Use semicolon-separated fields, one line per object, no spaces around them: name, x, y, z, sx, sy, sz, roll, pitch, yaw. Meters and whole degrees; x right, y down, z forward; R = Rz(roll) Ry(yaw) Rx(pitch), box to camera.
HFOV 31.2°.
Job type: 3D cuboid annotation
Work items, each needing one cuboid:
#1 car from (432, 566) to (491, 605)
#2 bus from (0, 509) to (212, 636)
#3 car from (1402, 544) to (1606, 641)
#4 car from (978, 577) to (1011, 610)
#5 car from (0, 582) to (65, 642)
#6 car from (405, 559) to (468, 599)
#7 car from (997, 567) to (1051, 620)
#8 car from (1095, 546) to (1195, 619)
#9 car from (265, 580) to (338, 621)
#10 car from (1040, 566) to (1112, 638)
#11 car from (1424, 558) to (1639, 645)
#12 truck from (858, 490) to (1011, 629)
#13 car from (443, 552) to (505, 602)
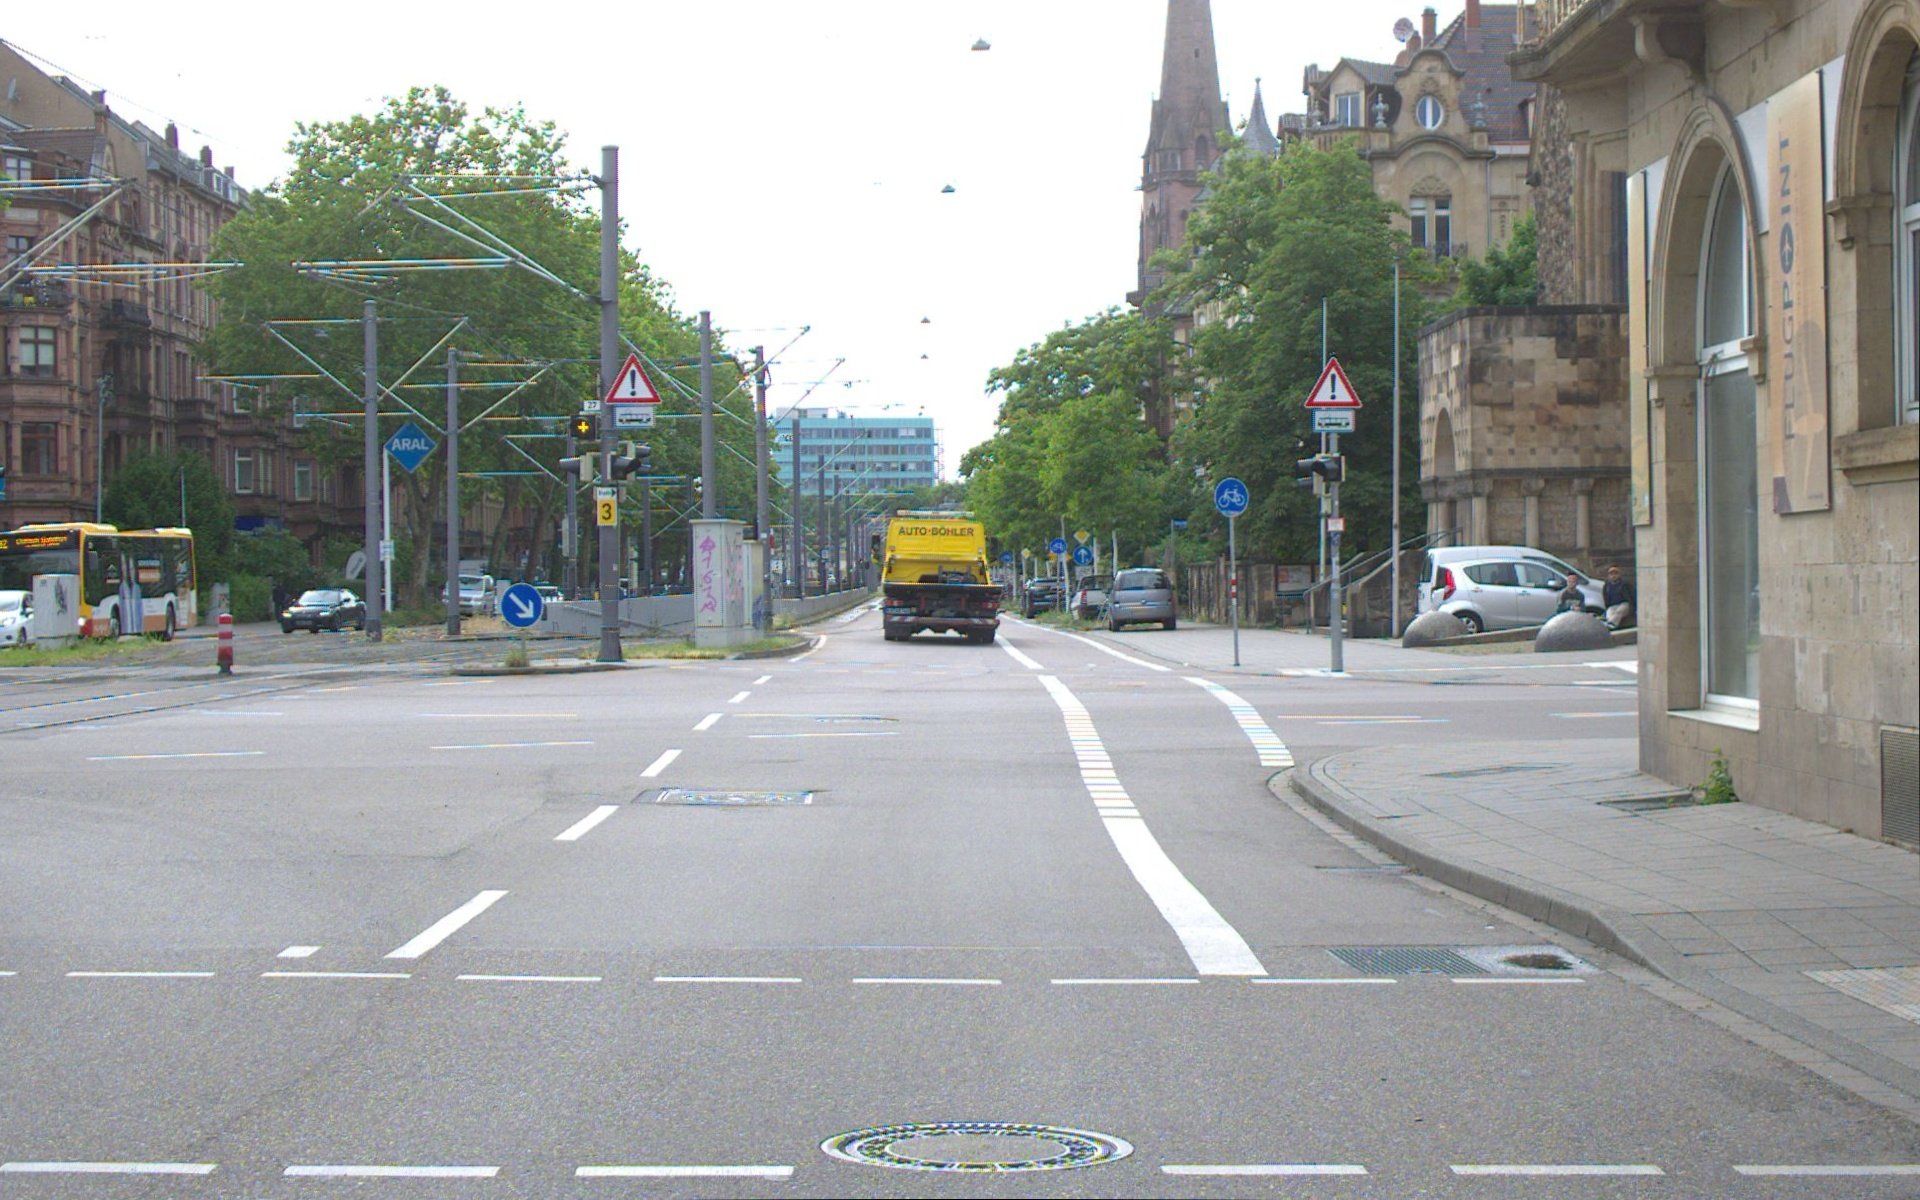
car;-21.631;-0.641;149.297;1.993;1.605;4.000;1;1;-1
bus;-22.480;-0.727;89.095;3.231;3.025;12.311;1;1;1
car;10.791;-0.158;68.407;3.713;1.849;2.000;1;0;0
car;2.183;-0.401;216.839;1.993;2.007;4.000;1;1;-1
car;-21.913;0.263;79.046;1.656;1.316;3.638;1;1;1
car;-21.544;-0.876;141.521;1.993;1.605;4.000;1;1;-1
car;2.531;-0.275;136.147;1.993;2.007;4.000;1;1;-1
car;4.865;-0.469;89.987;1.994;1.849;4.024;1;1;12
car;-21.897;0.001;114.493;1.656;1.316;3.638;1;1;1
car;3.340;0.035;99.629;1.993;2.007;4.000;1;1;1
car;10.763;0.020;64.950;3.713;1.558;2.000;1;0;0
truck;-0.633;-0.866;73.931;3.055;2.760;9.816;0;1;-1
car;-19.990;-0.961;141.571;1.993;2.007;4.000;1;1;-1
